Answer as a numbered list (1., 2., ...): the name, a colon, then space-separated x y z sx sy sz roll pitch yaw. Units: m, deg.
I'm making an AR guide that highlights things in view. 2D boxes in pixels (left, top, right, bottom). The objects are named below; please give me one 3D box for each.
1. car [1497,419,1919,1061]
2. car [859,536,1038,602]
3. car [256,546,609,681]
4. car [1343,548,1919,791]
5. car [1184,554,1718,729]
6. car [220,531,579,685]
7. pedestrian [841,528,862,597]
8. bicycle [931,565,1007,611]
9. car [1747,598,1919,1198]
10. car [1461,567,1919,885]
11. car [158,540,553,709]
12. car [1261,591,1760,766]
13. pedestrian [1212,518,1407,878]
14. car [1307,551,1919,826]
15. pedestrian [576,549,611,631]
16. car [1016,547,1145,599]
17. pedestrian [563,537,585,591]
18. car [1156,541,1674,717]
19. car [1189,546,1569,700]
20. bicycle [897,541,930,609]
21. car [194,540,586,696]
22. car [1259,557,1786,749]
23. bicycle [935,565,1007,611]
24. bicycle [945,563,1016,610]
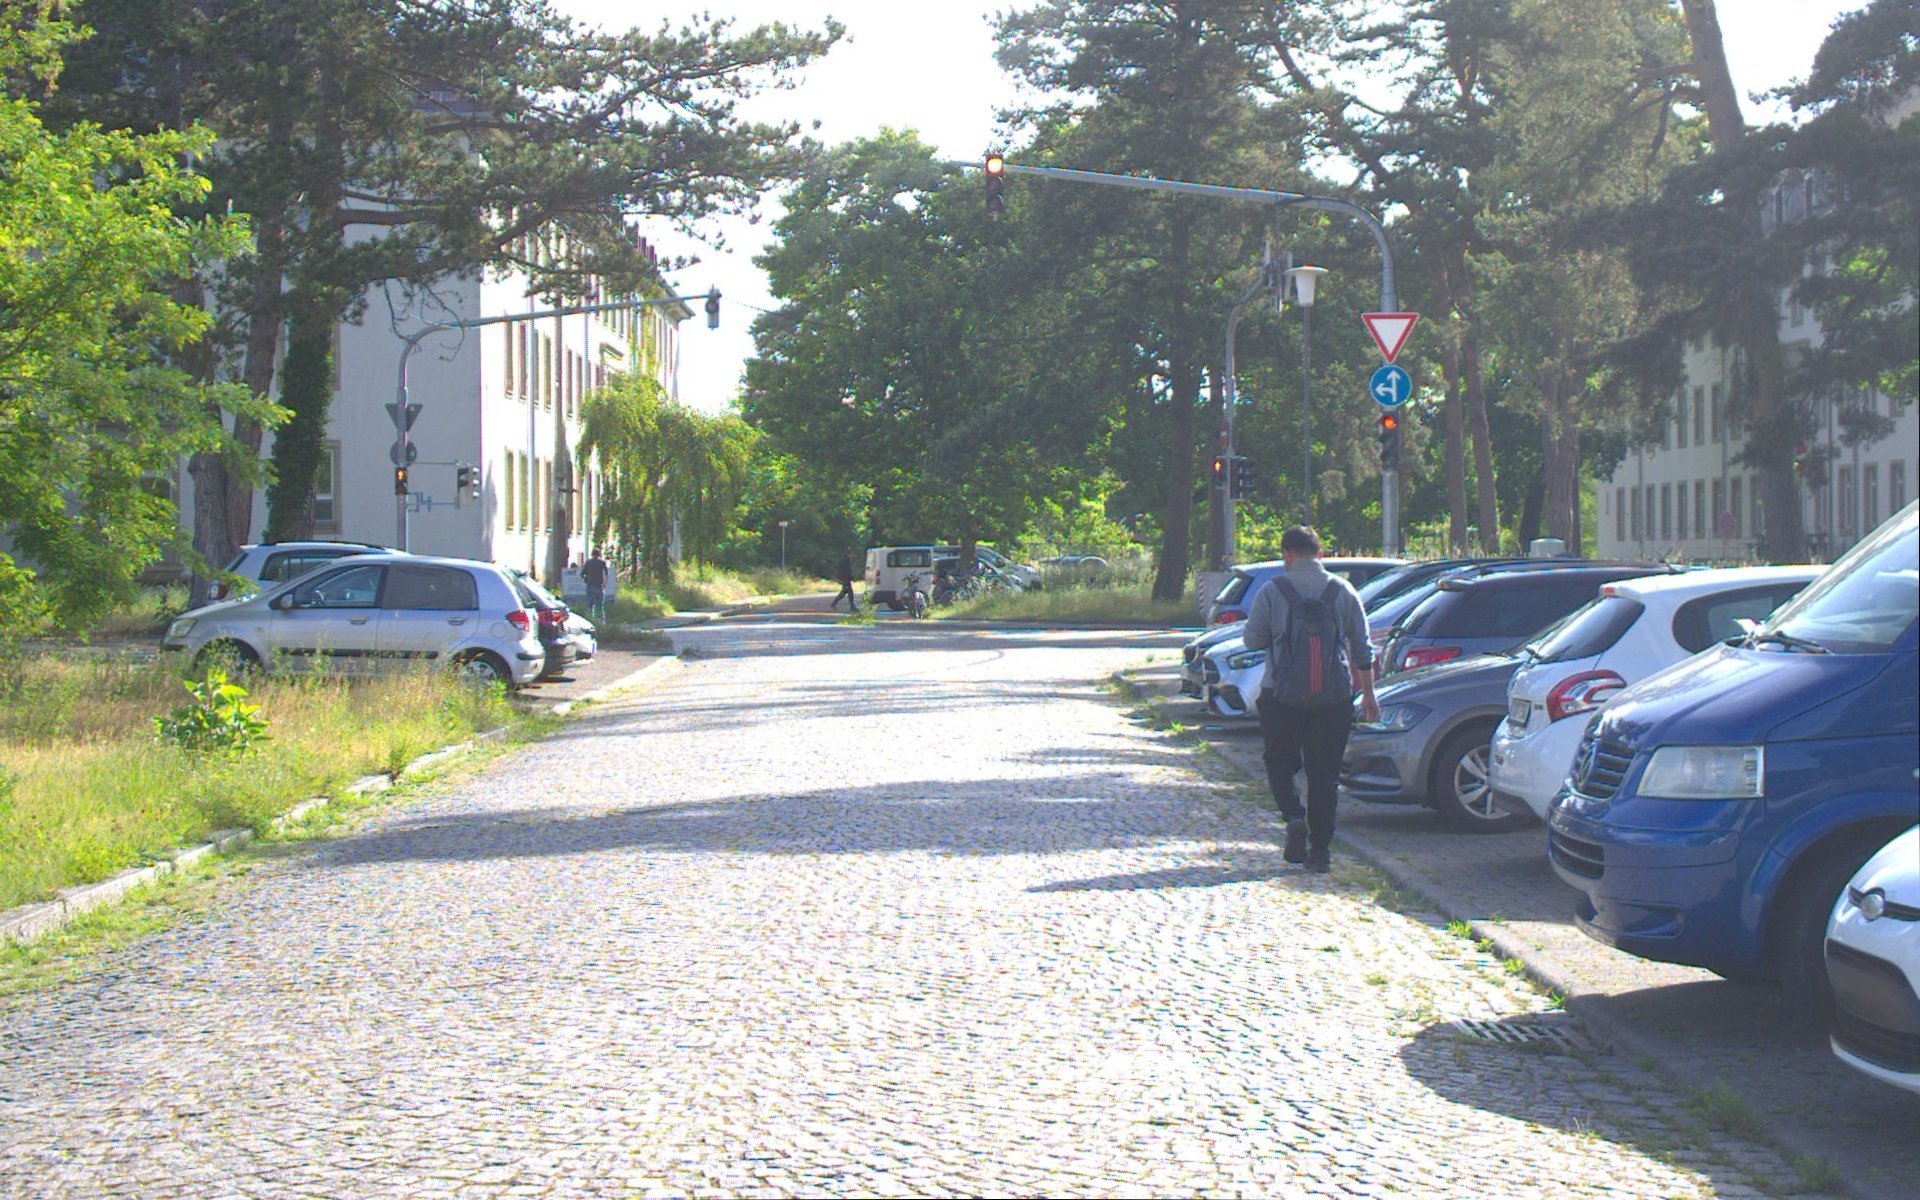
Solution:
1. car: 4.430 0.362 11.914 4.754 2.007 2.000 -2 1 0
2. car: -0.344 -0.927 102.362 5.065 1.911 2.001 0 1 -10
3. car: -6.518 0.144 42.730 3.987 1.491 1.772 2 1 4
4. car: 4.516 0.436 23.020 3.663 1.450 1.667 -2 1 0
5. car: 4.271 0.341 30.366 4.399 1.384 1.789 -1 1 -1
6. car: -6.474 0.082 39.974 3.879 1.610 1.661 2 1 -1
7. pedestrian: -3.167 -1.089 100.210 0.594 2.007 0.572 0 1 0
8. bicycle: 0.210 -0.296 84.481 1.834 1.108 0.495 0 1 -4
9. car: 4.203 0.700 9.291 3.719 1.462 1.610 -2 1 -2
10. car: 4.445 0.587 17.162 3.645 1.487 1.634 0 1 0
11. car: -6.043 0.227 34.676 3.685 1.522 1.699 2 1 -3
12. car: 4.040 0.567 25.560 3.460 1.238 1.536 0 1 0
13. pedestrian: 1.750 0.477 17.335 0.753 1.719 0.828 5 1 -1
14. car: 4.013 0.483 20.092 3.781 1.445 1.758 -1 1 1
15. pedestrian: -7.790 -0.216 73.110 0.606 1.746 0.630 0 1 -20
16. car: 3.716 -0.838 106.311 3.743 1.574 1.742 0 1 -7
17. pedestrian: -11.049 -1.029 98.366 0.606 1.554 0.545 -1 1 -7
18. car: 4.309 0.253 33.008 4.619 1.450 1.870 -2 1 -3
19. car: 4.289 0.222 35.546 3.673 1.438 1.665 -2 1 0
20. bicycle: -1.098 -0.595 81.217 0.753 1.575 2.537 0 1 -1
21. car: -6.144 0.180 37.338 3.937 1.440 1.691 3 1 -1
22. car: 4.513 0.409 27.949 3.979 1.443 1.656 -1 1 -1
23. bicycle: 0.272 -0.303 85.026 1.727 1.108 0.484 0 1 -4
24. bicycle: 0.500 -0.348 85.708 1.727 1.160 0.561 0 1 -4
